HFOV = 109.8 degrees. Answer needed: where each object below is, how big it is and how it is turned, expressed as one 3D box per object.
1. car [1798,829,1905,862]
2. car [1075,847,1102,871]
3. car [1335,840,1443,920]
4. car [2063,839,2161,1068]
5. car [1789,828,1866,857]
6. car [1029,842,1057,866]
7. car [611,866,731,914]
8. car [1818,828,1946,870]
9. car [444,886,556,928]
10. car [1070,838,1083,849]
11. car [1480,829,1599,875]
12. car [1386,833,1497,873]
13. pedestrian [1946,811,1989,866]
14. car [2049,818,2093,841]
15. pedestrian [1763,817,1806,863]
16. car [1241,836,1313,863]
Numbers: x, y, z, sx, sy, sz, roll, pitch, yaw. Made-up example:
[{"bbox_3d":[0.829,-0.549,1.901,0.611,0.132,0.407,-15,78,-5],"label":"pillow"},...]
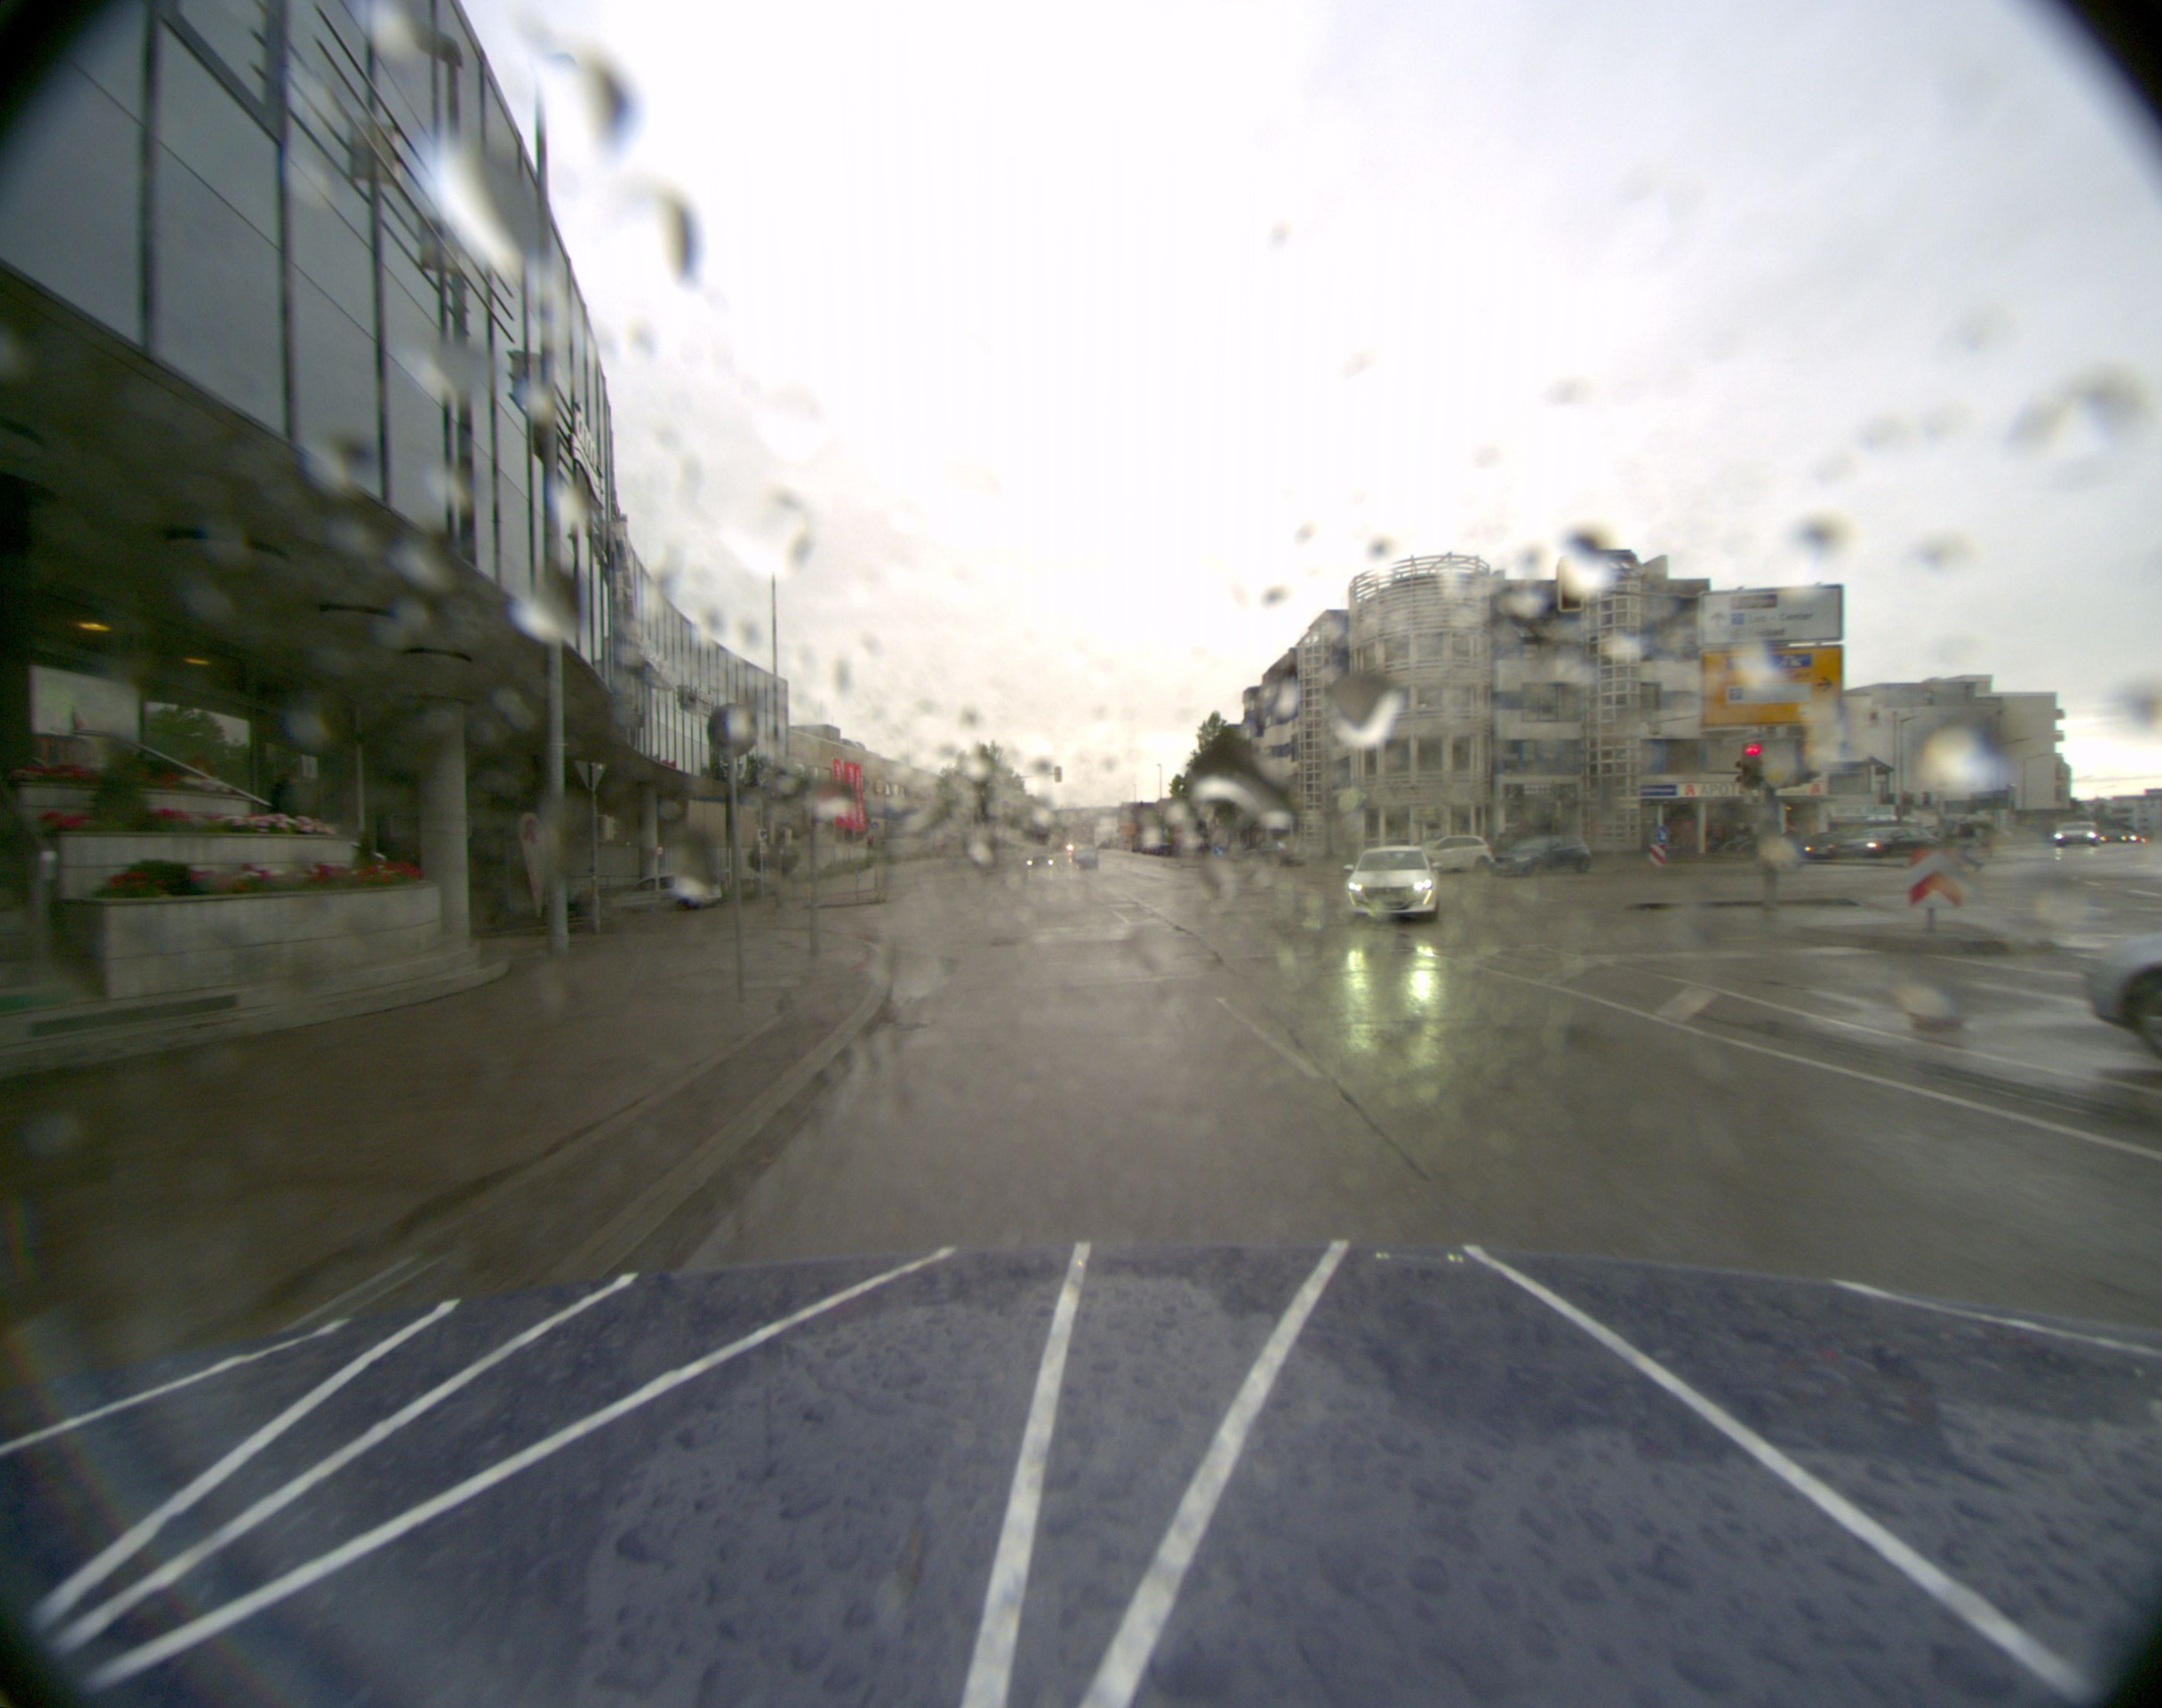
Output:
[{"bbox_3d":[36.627,-0.419,36.133,3.975,1.361,1.799,-3,2,-14],"label":"car"},{"bbox_3d":[0.495,0.298,52.240,1.678,1.390,3.853,-3,3,-1],"label":"car"},{"bbox_3d":[6.705,0.487,16.300,1.740,1.401,3.902,-2,1,28],"label":"car"},{"bbox_3d":[7.548,0.602,3.219,1.744,1.433,3.994,-2,0,4],"label":"car"},{"bbox_3d":[40.276,-0.655,40.980,3.735,1.365,1.651,-2,4,-24],"label":"car"},{"bbox_3d":[-2.613,-0.015,53.194,1.743,1.387,3.694,-3,3,0],"label":"car"},{"bbox_3d":[-18.524,1.611,34.476,4.293,1.787,1.931,-4,2,1],"label":"car"},{"bbox_3d":[34.081,-0.212,32.371,4.001,1.606,1.998,-2,0,-13],"label":"car"},{"bbox_3d":[-26.411,2.405,34.604,3.937,1.456,1.764,-5,2,11],"label":"car"},{"bbox_3d":[-0.733,-1.699,124.726,1.998,1.765,4.000,-2,0,1],"label":"car"},{"bbox_3d":[16.774,-0.118,27.830,3.817,1.447,1.748,-3,2,-21],"label":"car"},{"bbox_3d":[15.183,-0.062,32.055,4.064,1.519,1.732,-1,1,-13],"label":"car"},{"bbox_3d":[27.258,-0.489,23.368,0.816,1.646,0.713,-3,3,-31],"label":"pedestrian"},{"bbox_3d":[78.470,-1.928,60.236,4.006,1.631,1.740,-3,2,-32],"label":"car"},{"bbox_3d":[24.793,-0.507,26.799,0.913,1.576,0.657,-2,2,-3],"label":"pedestrian"},{"bbox_3d":[11.650,-0.243,45.379,1.738,1.436,4.037,-4,1,-30],"label":"car"}]
